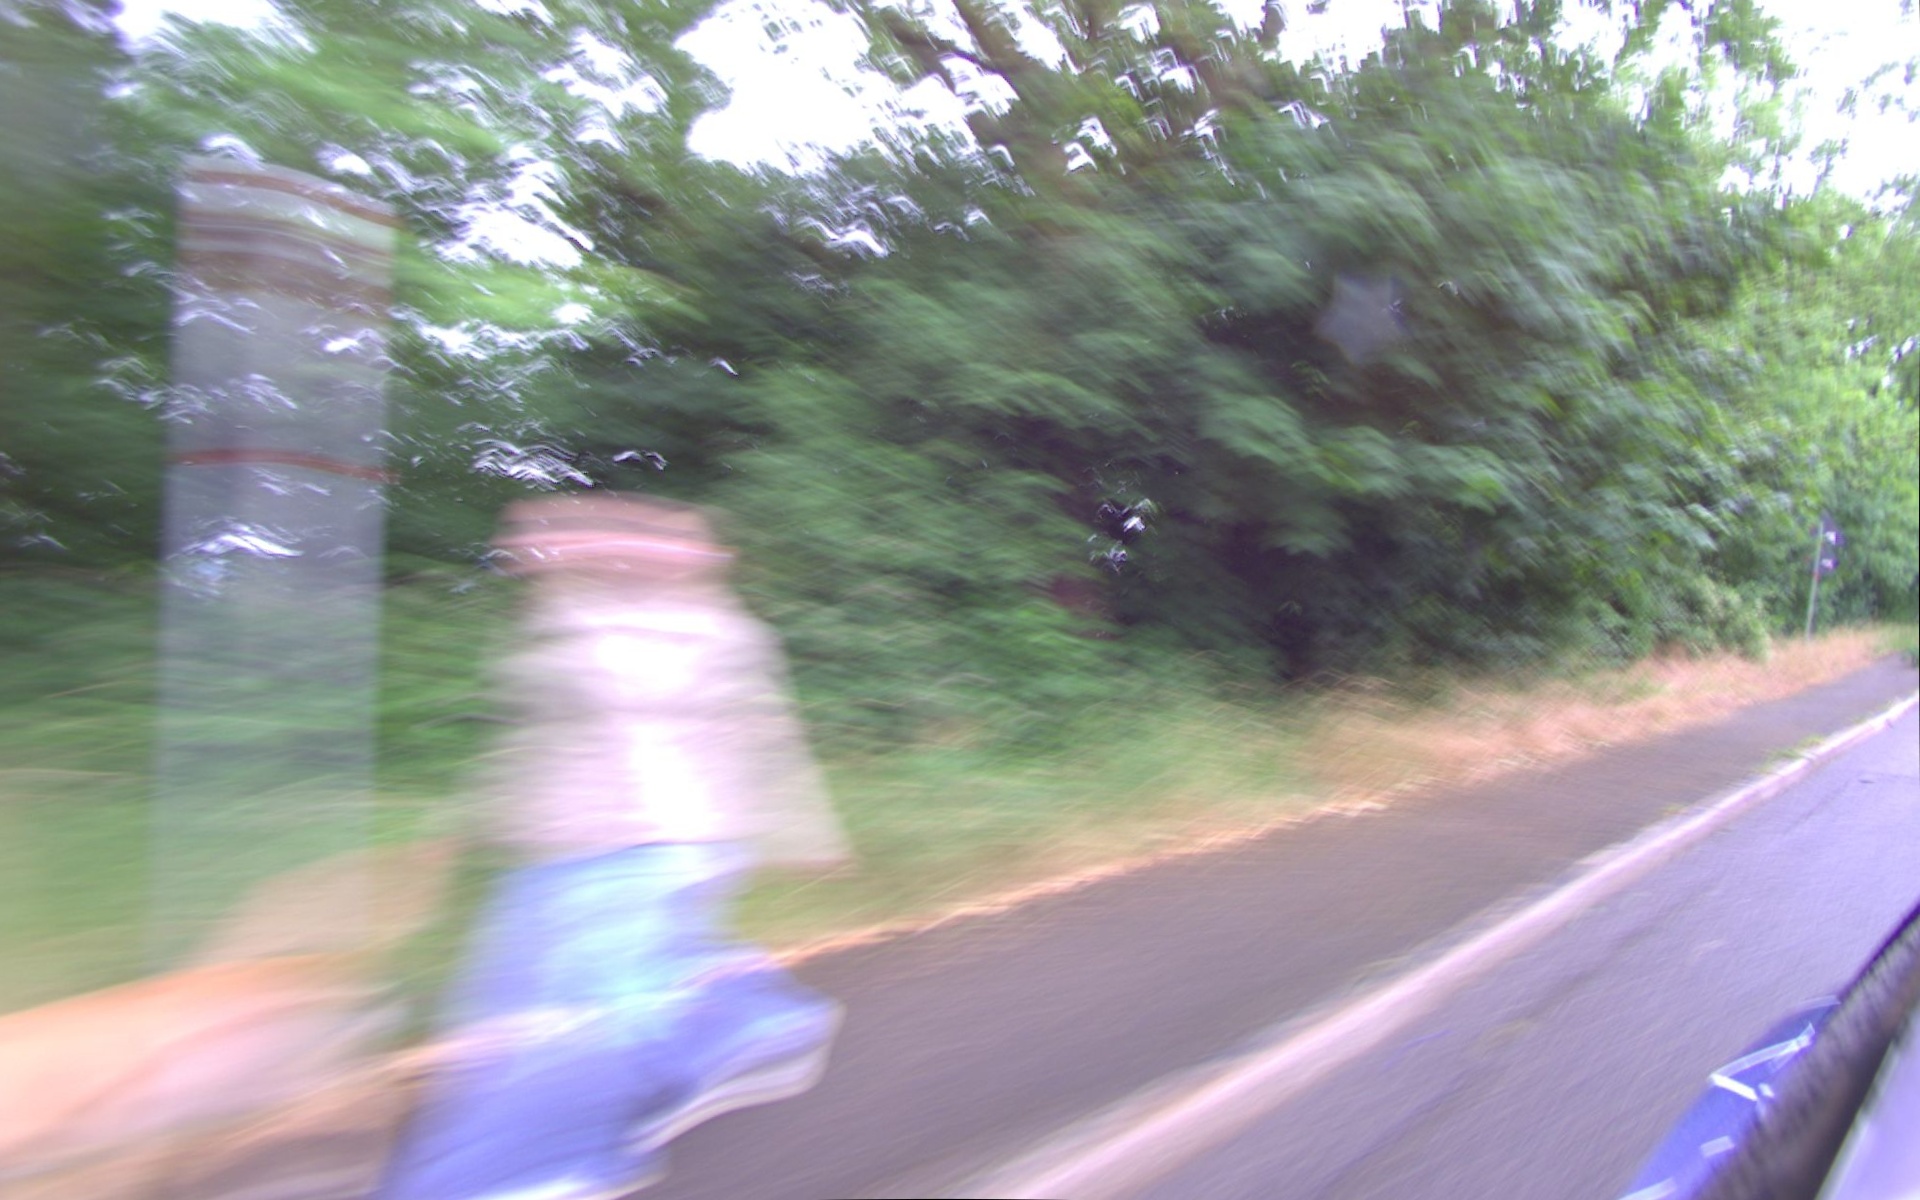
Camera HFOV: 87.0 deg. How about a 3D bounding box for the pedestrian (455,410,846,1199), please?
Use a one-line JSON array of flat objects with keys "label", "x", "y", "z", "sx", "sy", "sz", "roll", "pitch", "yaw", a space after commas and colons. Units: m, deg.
[{"label": "pedestrian", "x": -0.717, "y": 0.455, "z": 2.335, "sx": 0.658, "sy": 1.631, "sz": 0.643, "roll": -1, "pitch": 1, "yaw": -42}]
